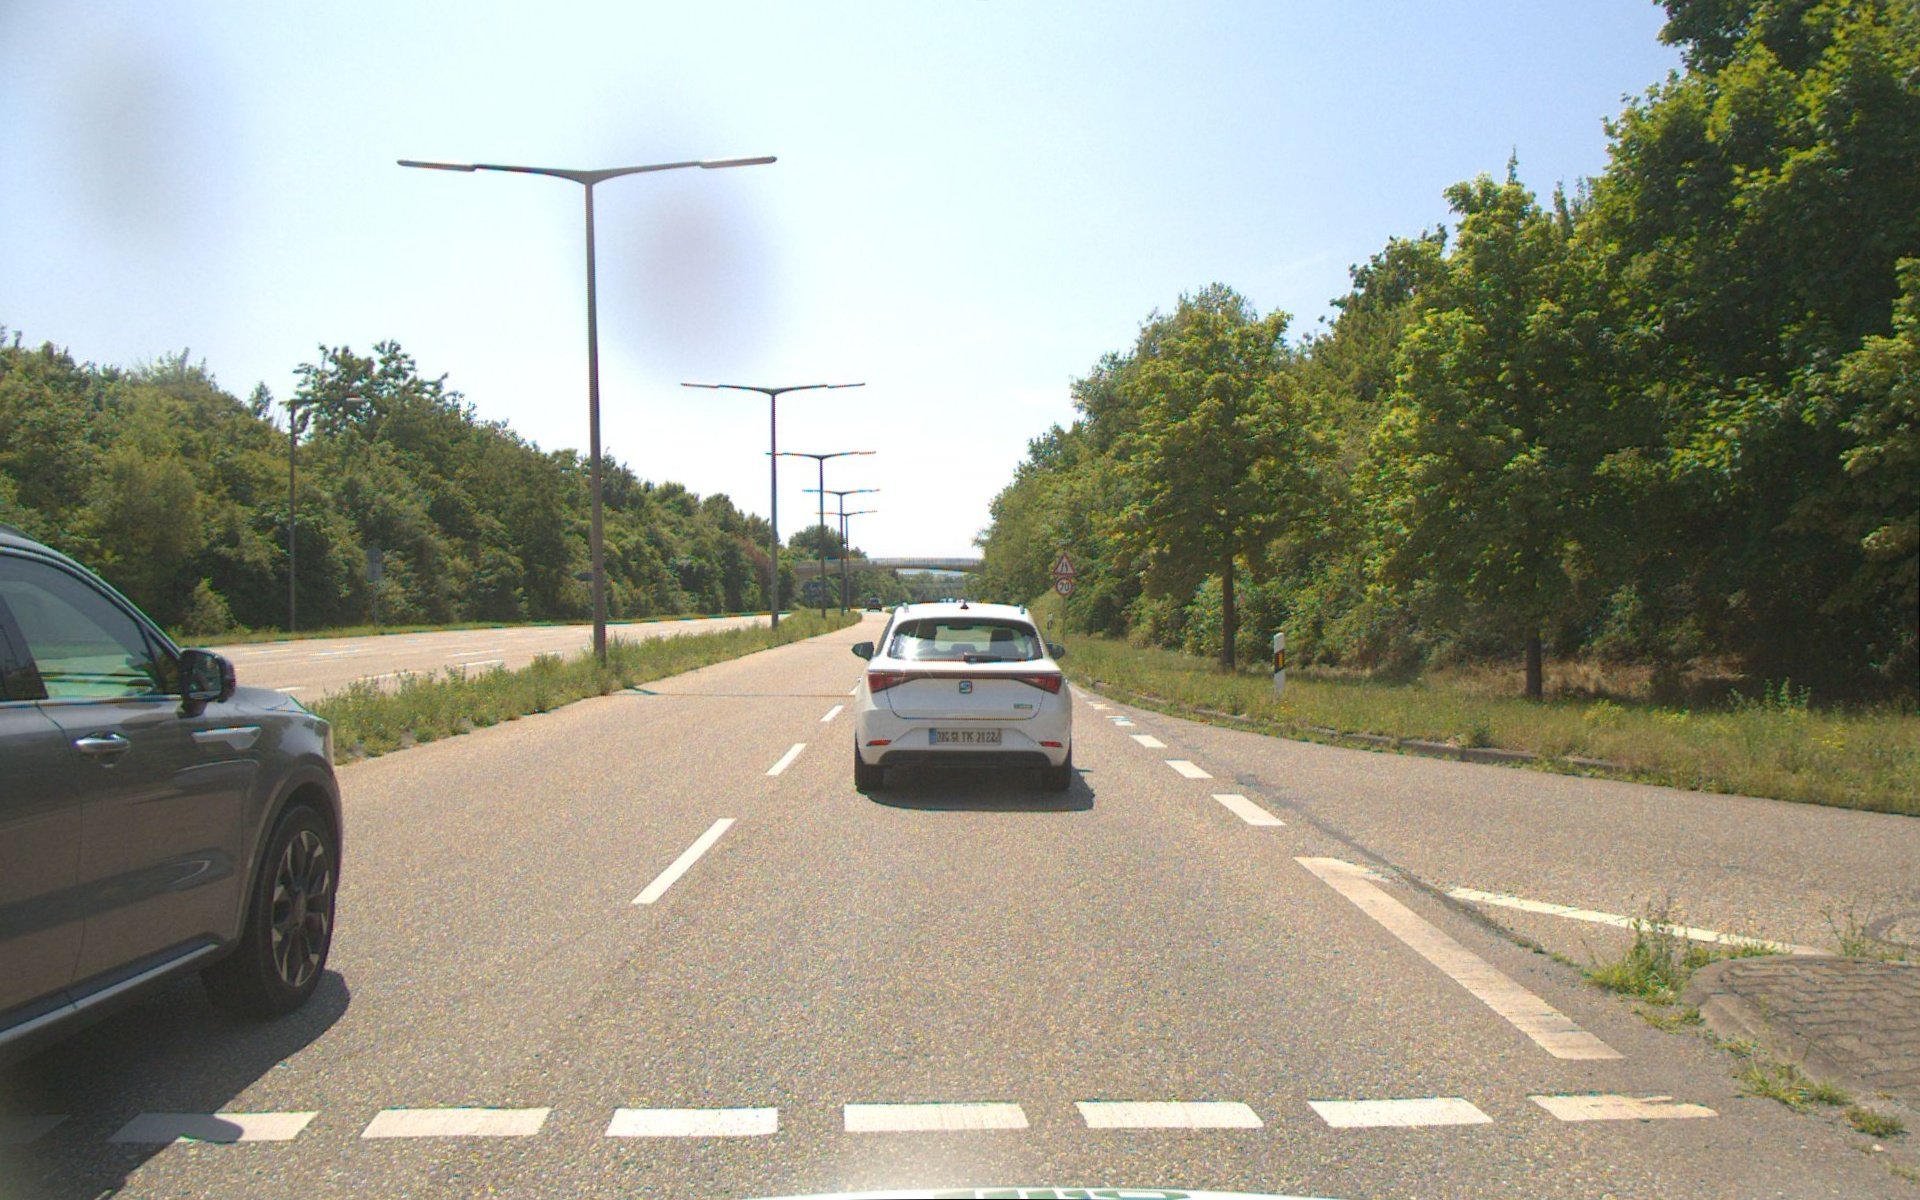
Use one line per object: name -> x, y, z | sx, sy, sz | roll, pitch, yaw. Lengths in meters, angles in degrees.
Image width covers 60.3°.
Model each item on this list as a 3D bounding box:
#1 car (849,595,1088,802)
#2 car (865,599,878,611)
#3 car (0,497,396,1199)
car -> 0.066, 0.732, 13.820 | 1.699, 1.453, 3.694 | 1, -1, 0
car -> -12.576, 0.710, 235.768 | 1.818, 1.739, 3.998 | -1, 0, -3
car -> -3.124, 0.609, 4.229 | 1.767, 1.691, 4.644 | 0, 0, 0
